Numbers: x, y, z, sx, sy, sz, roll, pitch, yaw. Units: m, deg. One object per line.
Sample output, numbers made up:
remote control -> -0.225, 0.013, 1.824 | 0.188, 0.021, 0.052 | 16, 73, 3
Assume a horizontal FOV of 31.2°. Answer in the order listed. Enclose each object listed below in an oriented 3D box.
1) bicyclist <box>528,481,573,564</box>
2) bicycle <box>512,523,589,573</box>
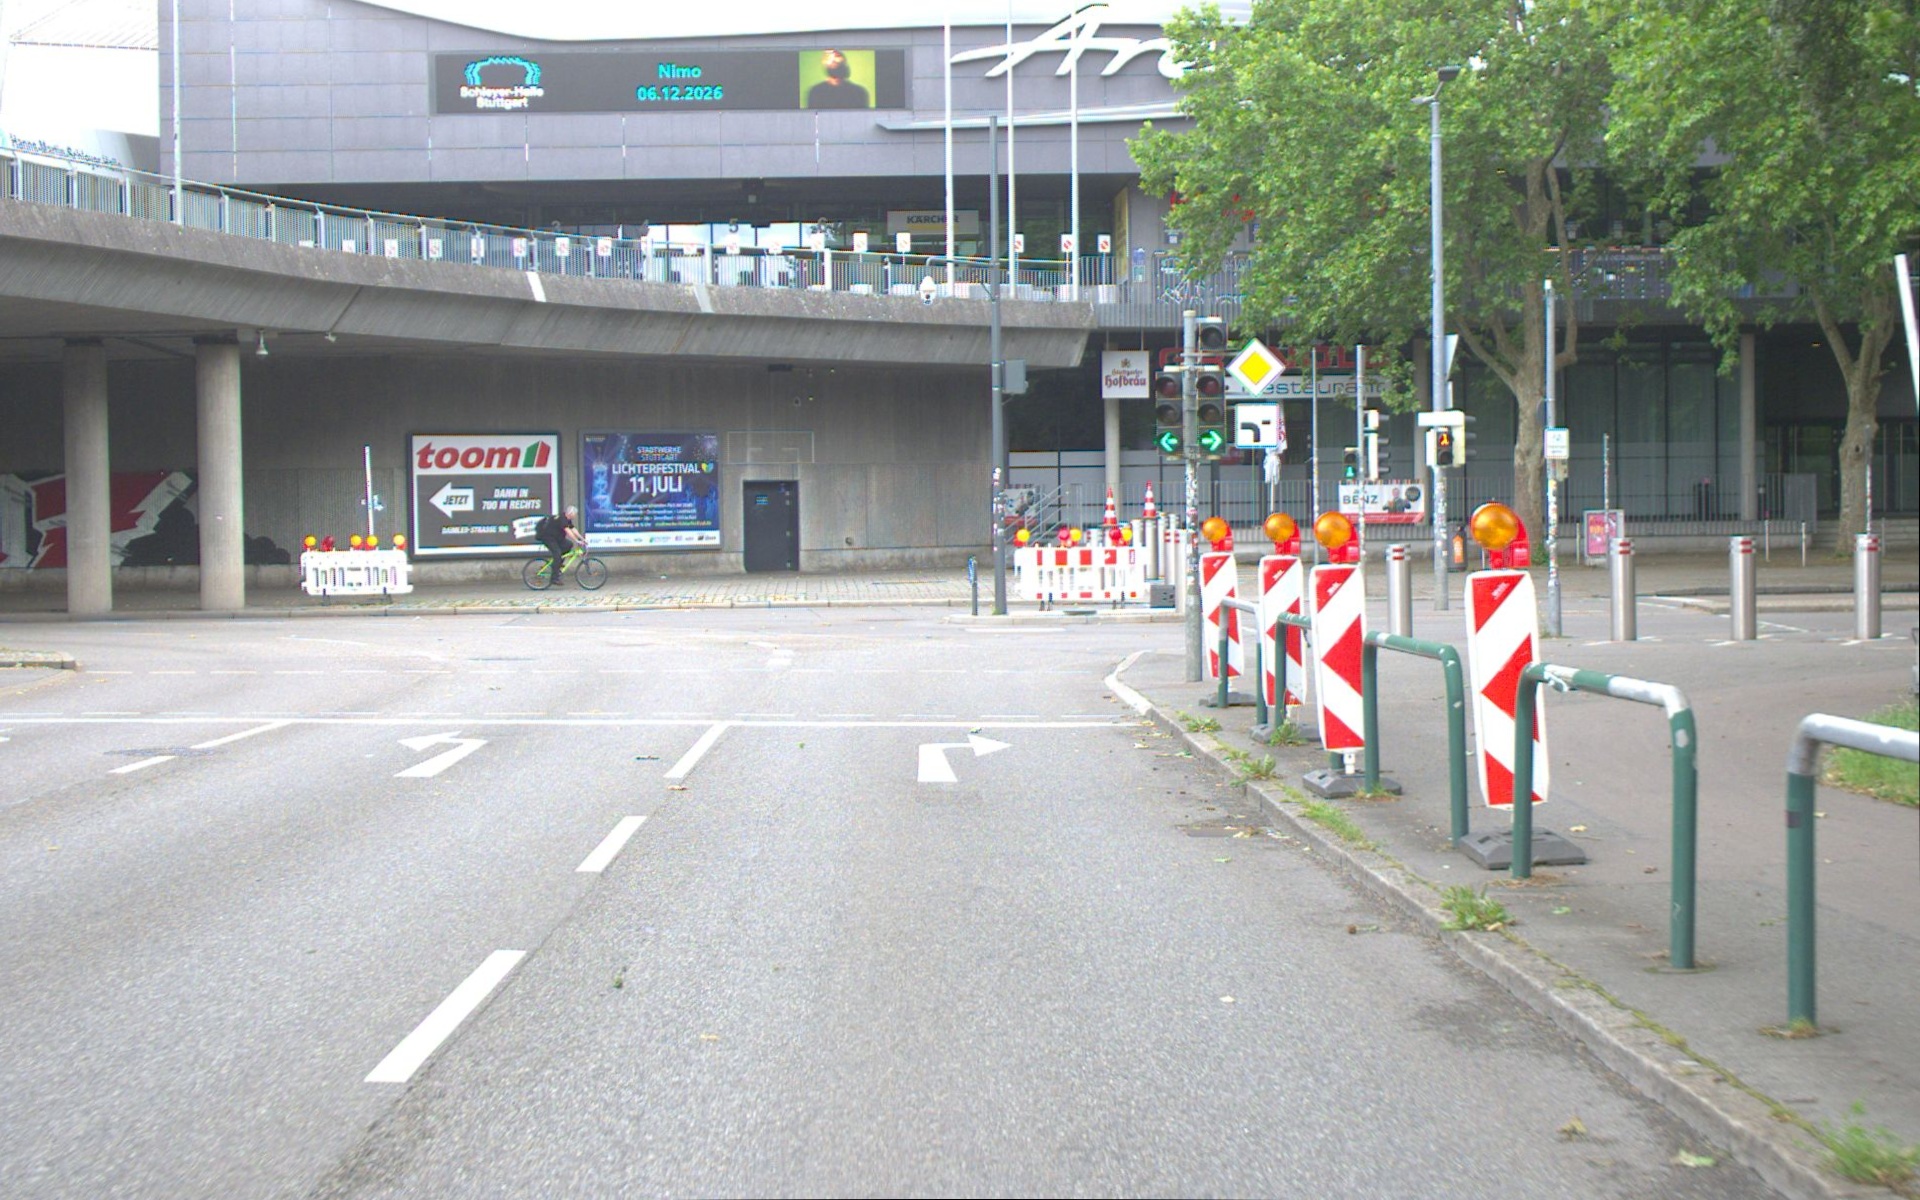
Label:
bicyclist -> -8.415, -1.594, 70.640 | 0.851, 1.692, 0.767 | 1, 1, -4
bicycle -> -8.417, -1.063, 70.640 | 1.532, 1.009, 0.517 | 1, 1, -4
